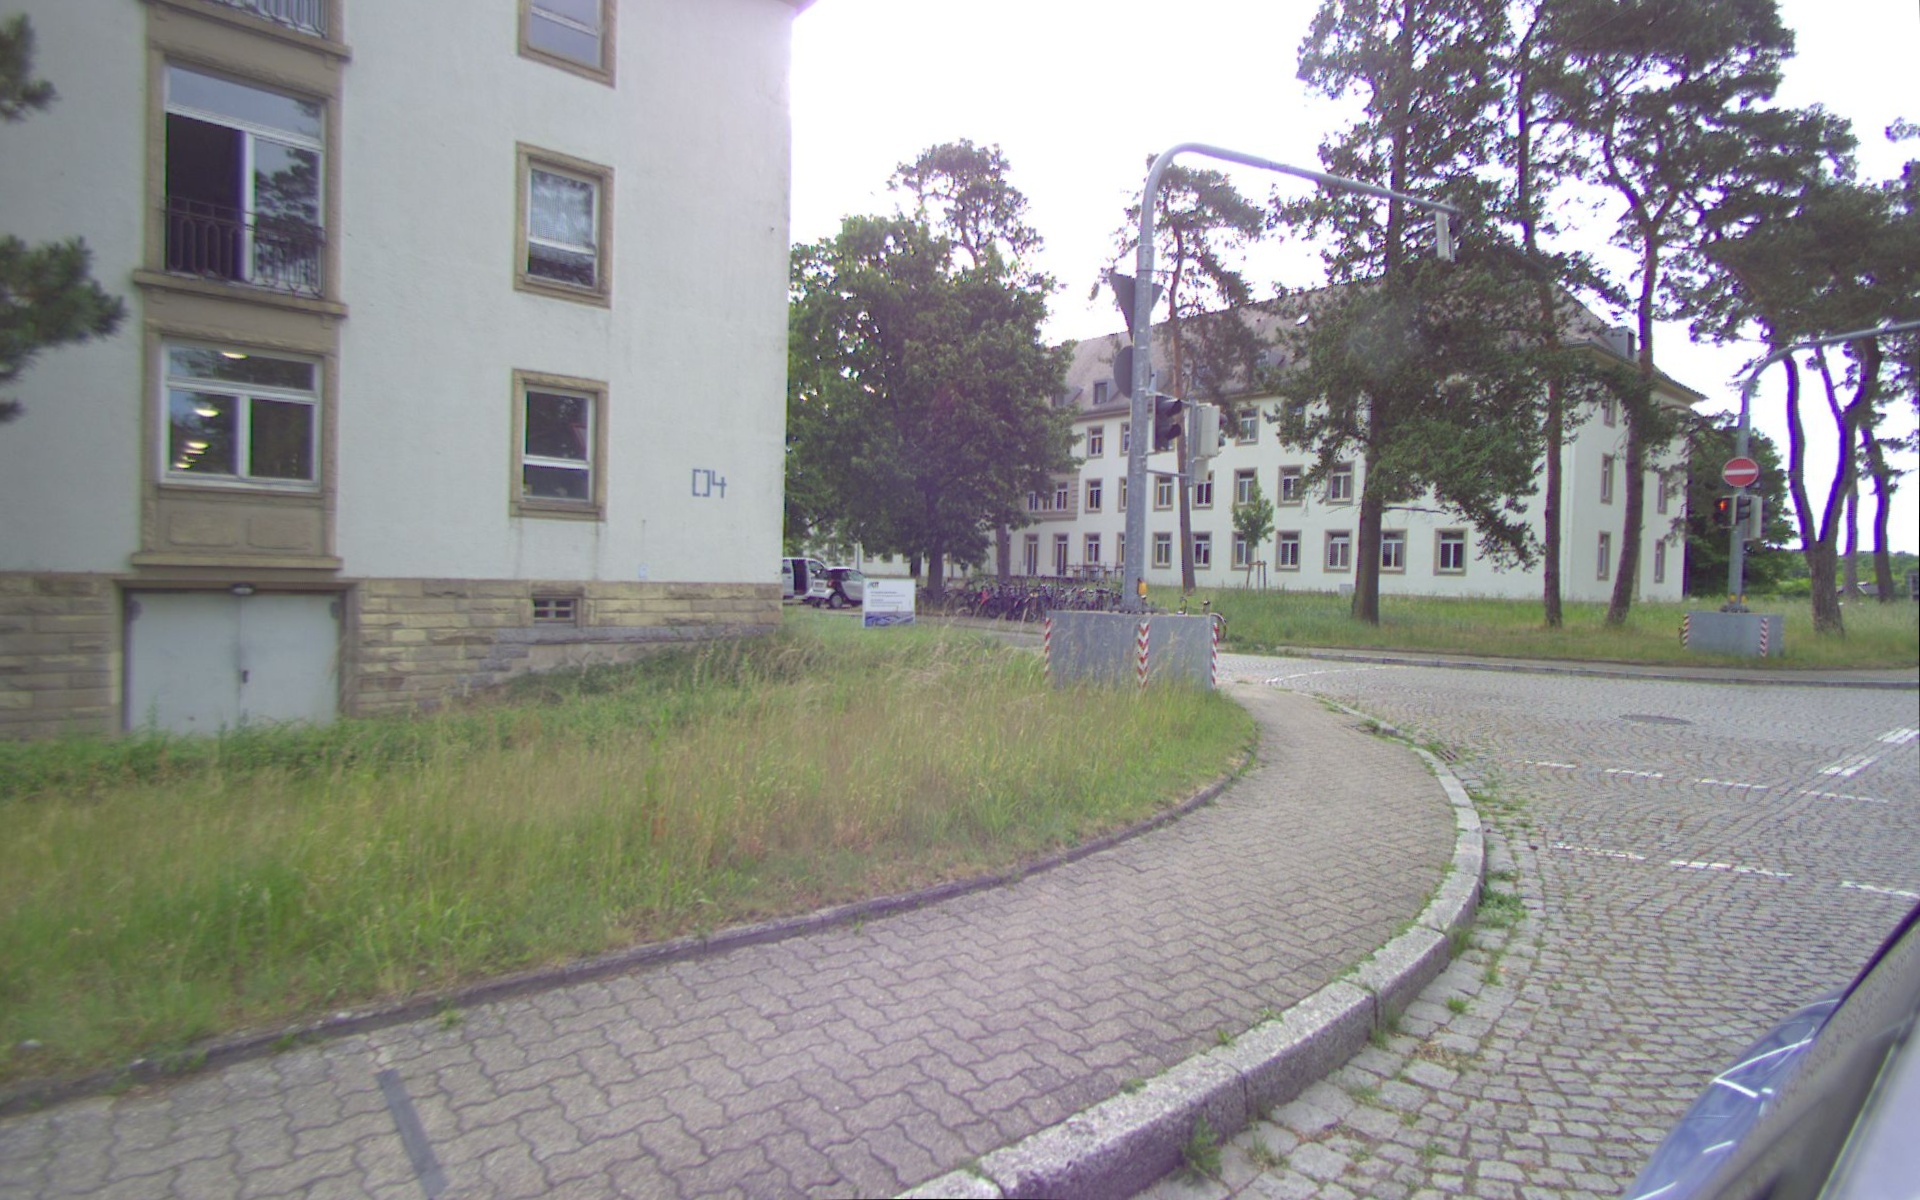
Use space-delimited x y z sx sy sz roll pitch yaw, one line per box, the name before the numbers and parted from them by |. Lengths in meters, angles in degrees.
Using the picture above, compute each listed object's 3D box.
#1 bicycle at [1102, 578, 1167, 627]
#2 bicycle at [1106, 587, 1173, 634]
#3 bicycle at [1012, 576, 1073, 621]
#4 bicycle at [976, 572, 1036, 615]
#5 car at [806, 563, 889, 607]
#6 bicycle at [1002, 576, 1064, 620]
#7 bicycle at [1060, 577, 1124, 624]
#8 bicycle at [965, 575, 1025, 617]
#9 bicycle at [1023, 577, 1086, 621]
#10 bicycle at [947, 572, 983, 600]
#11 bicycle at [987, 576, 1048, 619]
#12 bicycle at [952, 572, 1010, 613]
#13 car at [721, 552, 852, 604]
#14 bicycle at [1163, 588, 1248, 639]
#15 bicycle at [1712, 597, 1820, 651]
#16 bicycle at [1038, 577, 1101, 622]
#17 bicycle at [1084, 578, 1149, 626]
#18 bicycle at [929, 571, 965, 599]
bicycle | 4.745 0.082 27.478 1.954 1.263 0.623 1 1 -41
bicycle | 4.494 0.249 25.437 0.612 1.096 1.678 2 1 -35
bicycle | 2.475 -0.037 30.231 1.954 1.263 0.623 1 1 -41
bicycle | 1.434 -0.187 31.431 1.954 1.263 0.623 1 1 -41
car | -4.309 -0.588 38.935 2.806 1.577 1.471 -1 4 -40
bicycle | 2.207 -0.050 30.464 1.954 1.263 0.623 1 1 -41
bicycle | 3.744 0.030 28.666 1.954 1.263 0.623 1 1 -41
bicycle | 1.104 -0.108 31.800 1.954 1.263 0.623 1 1 -41
bicycle | 2.797 -0.020 29.817 1.954 1.263 0.623 1 1 -41
bicycle | 0.193 -0.573 41.269 1.525 1.138 0.401 0 1 -38
bicycle | 1.775 -0.074 31.050 1.954 1.263 0.623 1 1 -41
bicycle | 0.688 -0.257 32.307 1.955 1.263 0.623 -2 3 -41
car | -6.974 -0.916 41.229 2.137 1.939 5.253 2 2 36
bicycle | 5.790 0.300 23.975 0.612 1.127 1.989 2 1 -36
bicycle | 17.277 0.497 21.732 0.571 0.981 1.679 -2 5 -35
bicycle | 3.196 0.001 29.327 1.954 1.263 0.623 1 1 -41
bicycle | 4.344 0.061 27.962 1.954 1.263 0.623 1 1 -41
bicycle | -0.532 -0.616 42.265 1.525 1.138 0.401 0 1 -38
